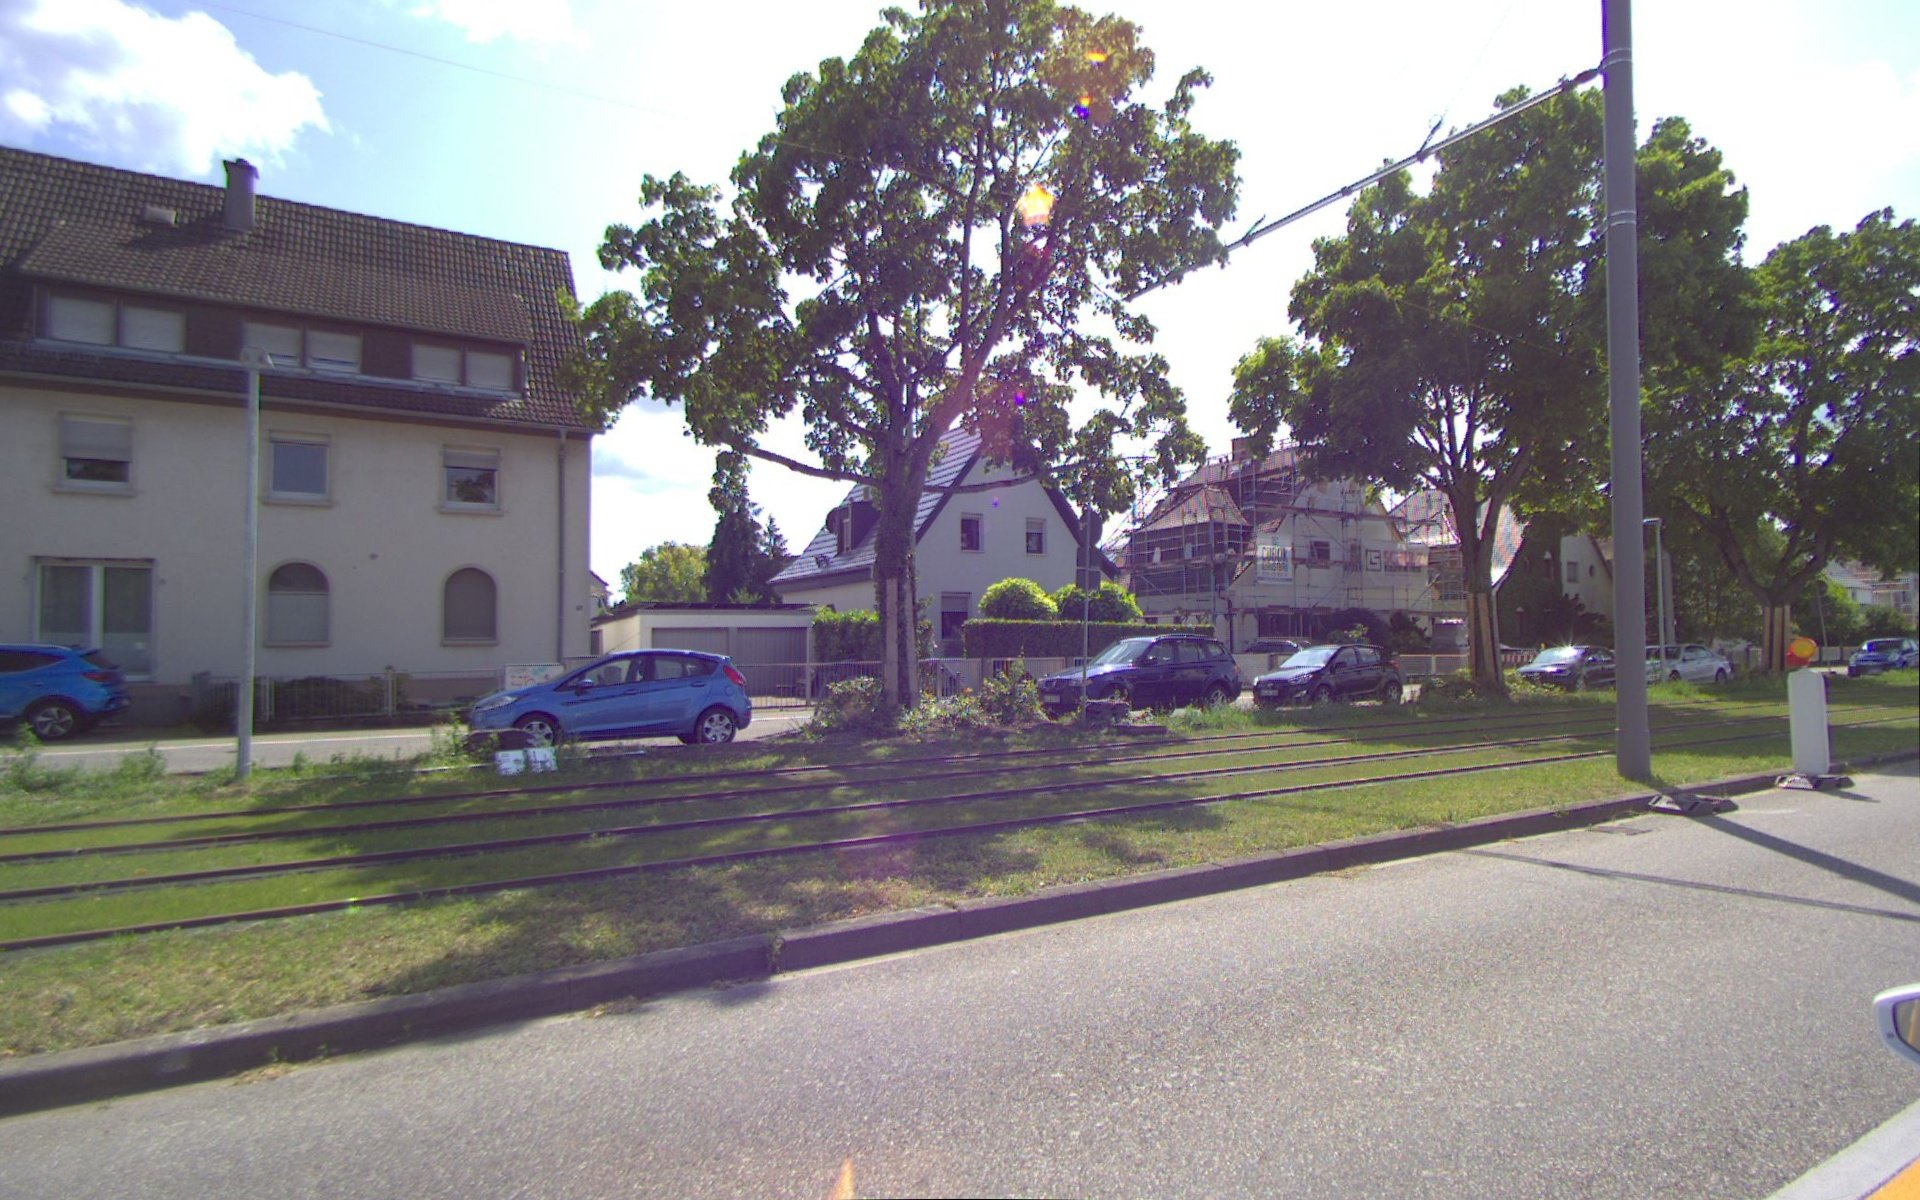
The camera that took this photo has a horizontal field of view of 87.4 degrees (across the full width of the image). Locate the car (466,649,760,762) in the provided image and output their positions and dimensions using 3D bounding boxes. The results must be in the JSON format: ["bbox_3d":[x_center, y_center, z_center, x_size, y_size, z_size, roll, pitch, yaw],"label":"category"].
[{"bbox_3d":[-5.046,1.454,14.682,3.841,1.454,1.747,1,-4,-29],"label":"car"}]

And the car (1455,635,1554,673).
[{"bbox_3d":[25.408,2.549,46.982,1.851,1.705,3.631,2,-4,-30],"label":"car"}]

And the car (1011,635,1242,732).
[{"bbox_3d":[3.335,1.597,19.899,4.346,1.713,1.982,2,-4,-34],"label":"car"}]

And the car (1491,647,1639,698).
[{"bbox_3d":[17.104,2.039,28.401,3.808,1.334,1.985,2,-6,-31],"label":"car"}]

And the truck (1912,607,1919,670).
[{"bbox_3d":[46.036,1.647,45.827,6.204,2.802,1.985,1,-6,-31],"label":"truck"}]

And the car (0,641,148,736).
[{"bbox_3d":[-16.938,1.538,17.548,3.953,1.597,1.894,2,-4,-30],"label":"car"}]

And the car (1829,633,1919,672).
[{"bbox_3d":[36.789,2.103,40.202,3.956,1.472,1.983,2,-4,-33],"label":"car"}]

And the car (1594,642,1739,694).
[{"bbox_3d":[21.953,2.092,31.177,4.882,1.501,1.797,2,-4,-31],"label":"car"}]

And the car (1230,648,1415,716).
[{"bbox_3d":[8.418,1.877,23.302,3.954,1.457,1.984,2,-5,-31],"label":"car"}]
